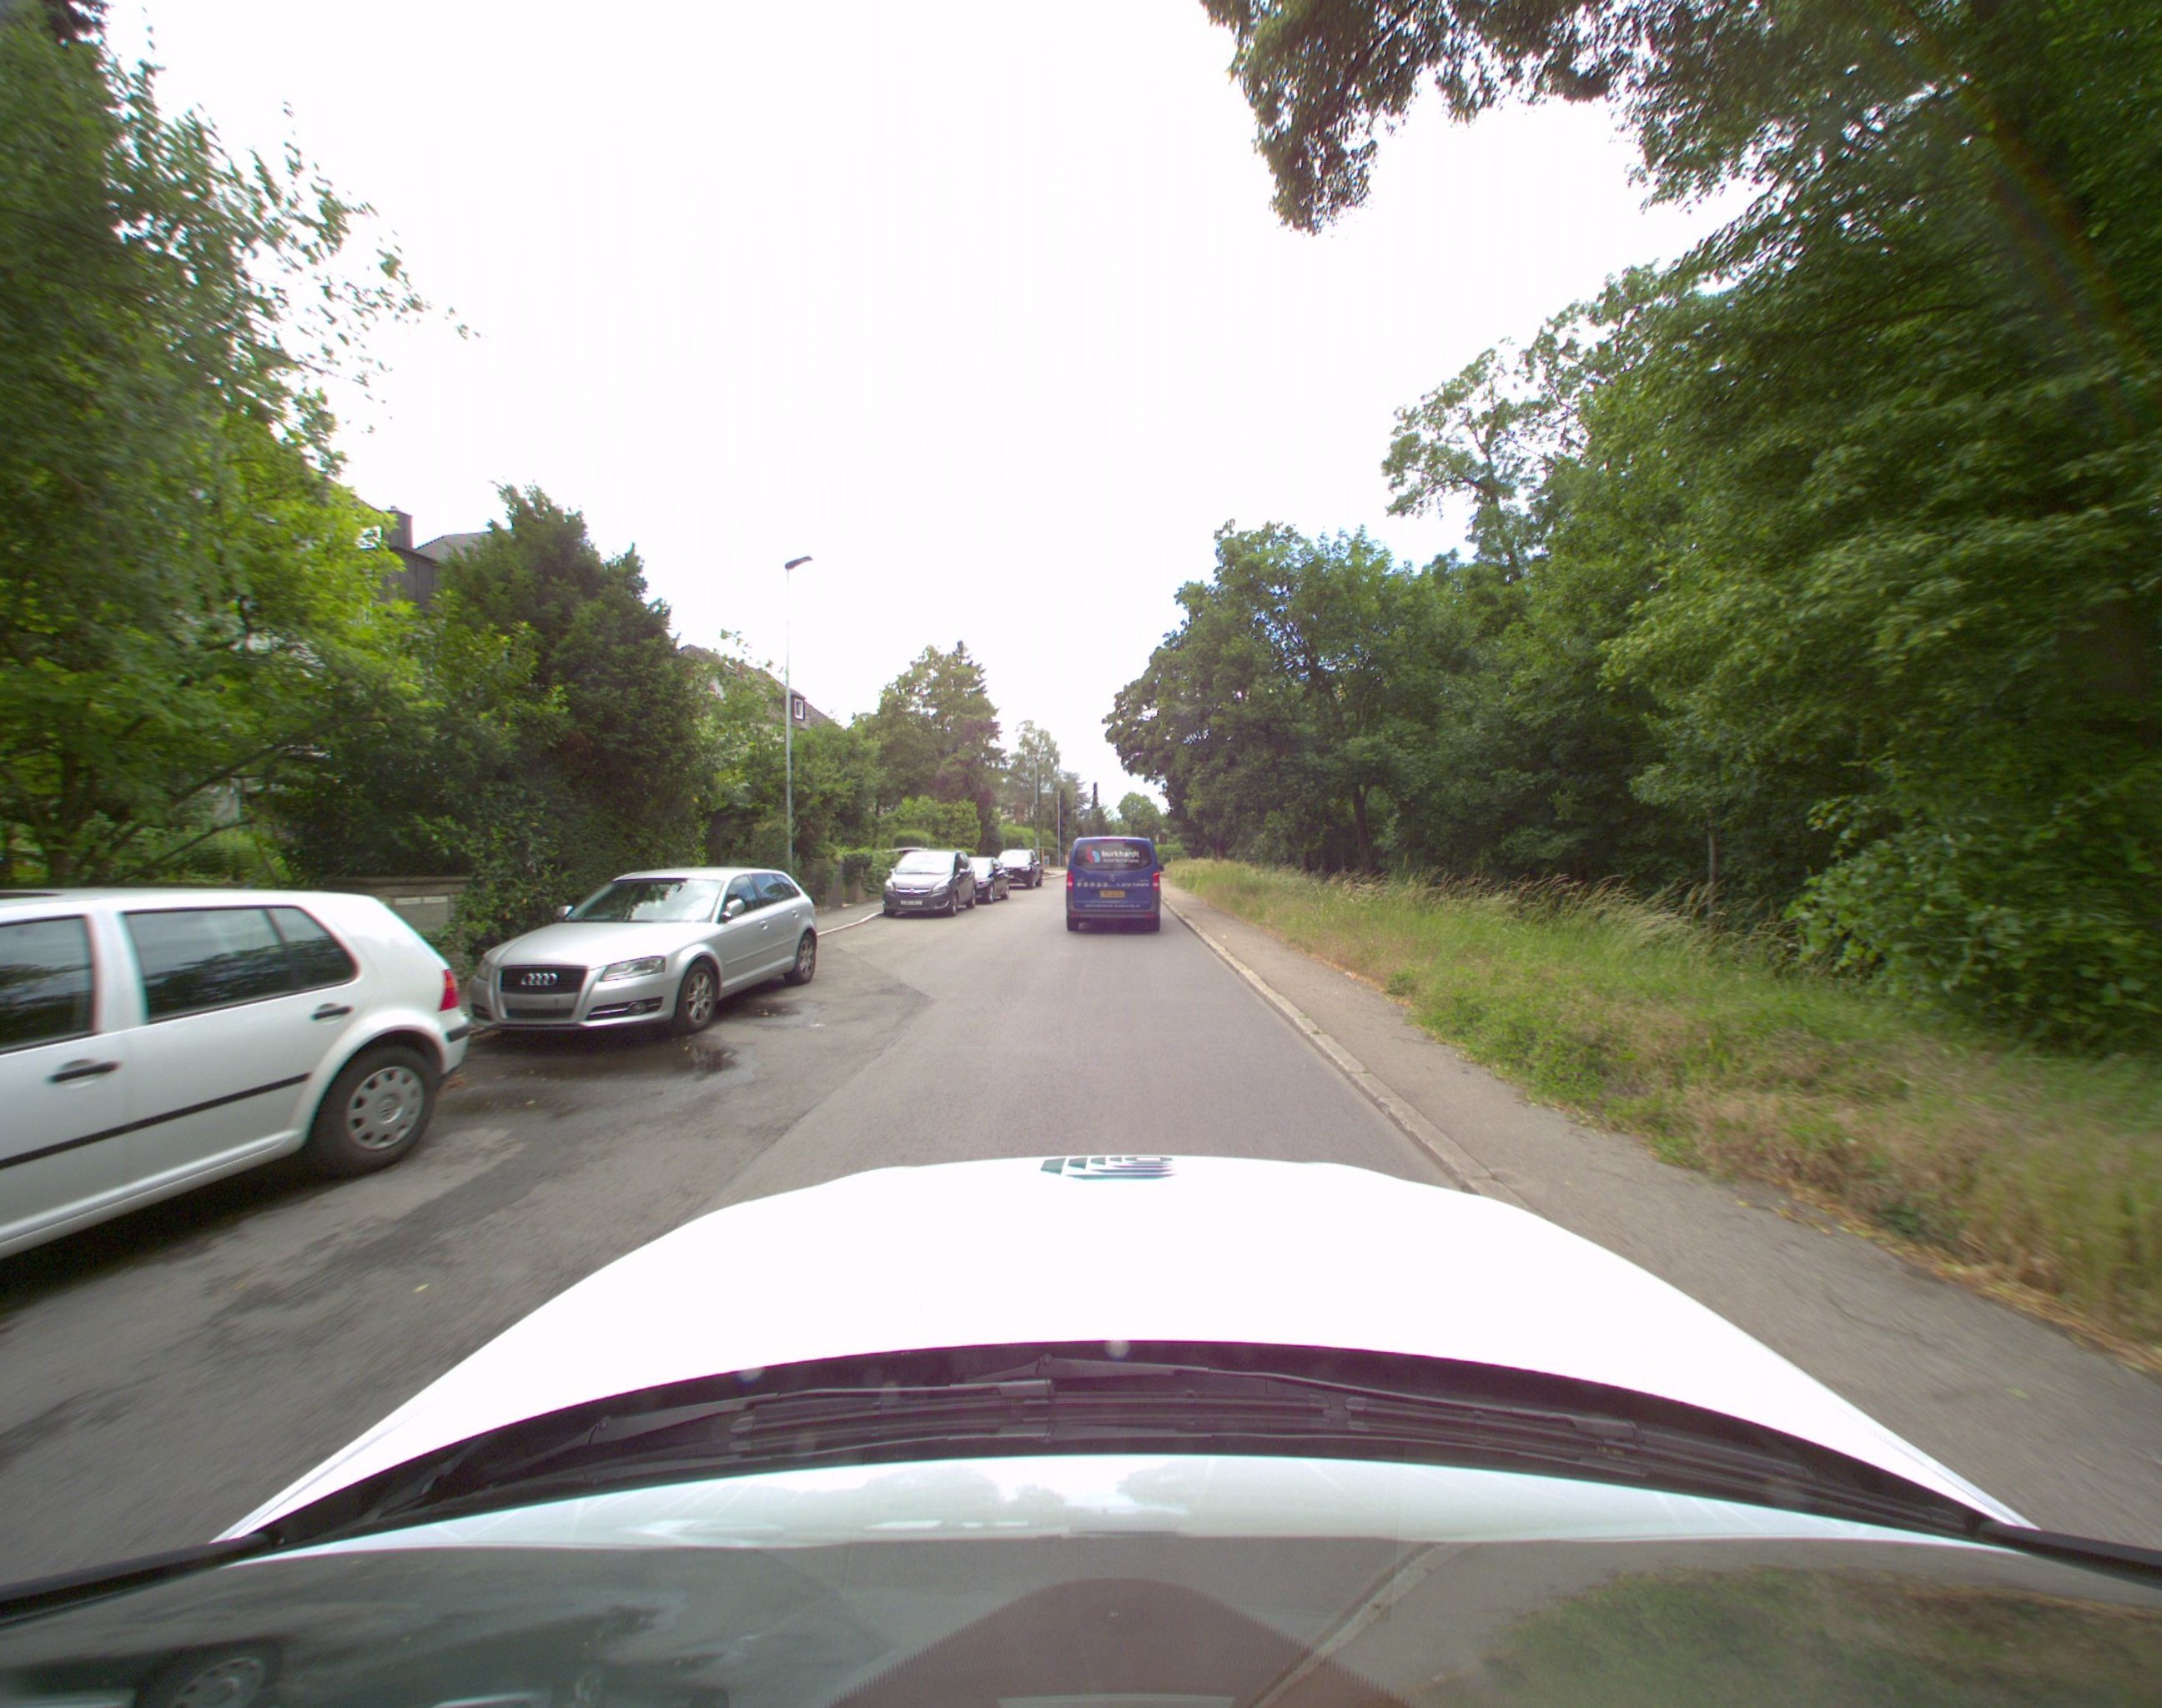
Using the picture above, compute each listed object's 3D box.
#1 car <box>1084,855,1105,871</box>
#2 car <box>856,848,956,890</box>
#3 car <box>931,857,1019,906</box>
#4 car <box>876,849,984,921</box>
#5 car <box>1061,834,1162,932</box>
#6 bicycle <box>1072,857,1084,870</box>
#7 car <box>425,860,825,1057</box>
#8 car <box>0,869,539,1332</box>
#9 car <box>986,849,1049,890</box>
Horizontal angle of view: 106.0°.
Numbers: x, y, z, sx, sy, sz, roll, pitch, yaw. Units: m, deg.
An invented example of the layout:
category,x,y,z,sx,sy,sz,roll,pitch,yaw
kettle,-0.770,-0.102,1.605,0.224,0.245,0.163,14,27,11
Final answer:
category,x,y,z,sx,sy,sz,roll,pitch,yaw
car,1.502,0.949,88.243,1.827,1.631,4.307,1,0,6
car,-7.350,0.612,34.367,3.664,1.637,1.836,1,0,15
car,-3.308,0.818,26.361,1.746,1.412,4.905,1,0,5
car,-3.726,0.712,20.920,1.724,1.632,4.571,1,0,2
car,0.563,0.503,17.376,1.883,1.844,3.999,1,1,-1
bicycle,-0.355,1.005,85.446,0.901,1.252,2.920,2,0,6
car,-4.117,0.812,8.238,1.617,1.450,4.095,-1,0,2
car,-4.333,0.837,2.911,1.652,1.452,4.385,-1,0,3
car,-2.798,0.660,37.083,1.965,1.737,5.197,1,0,5
